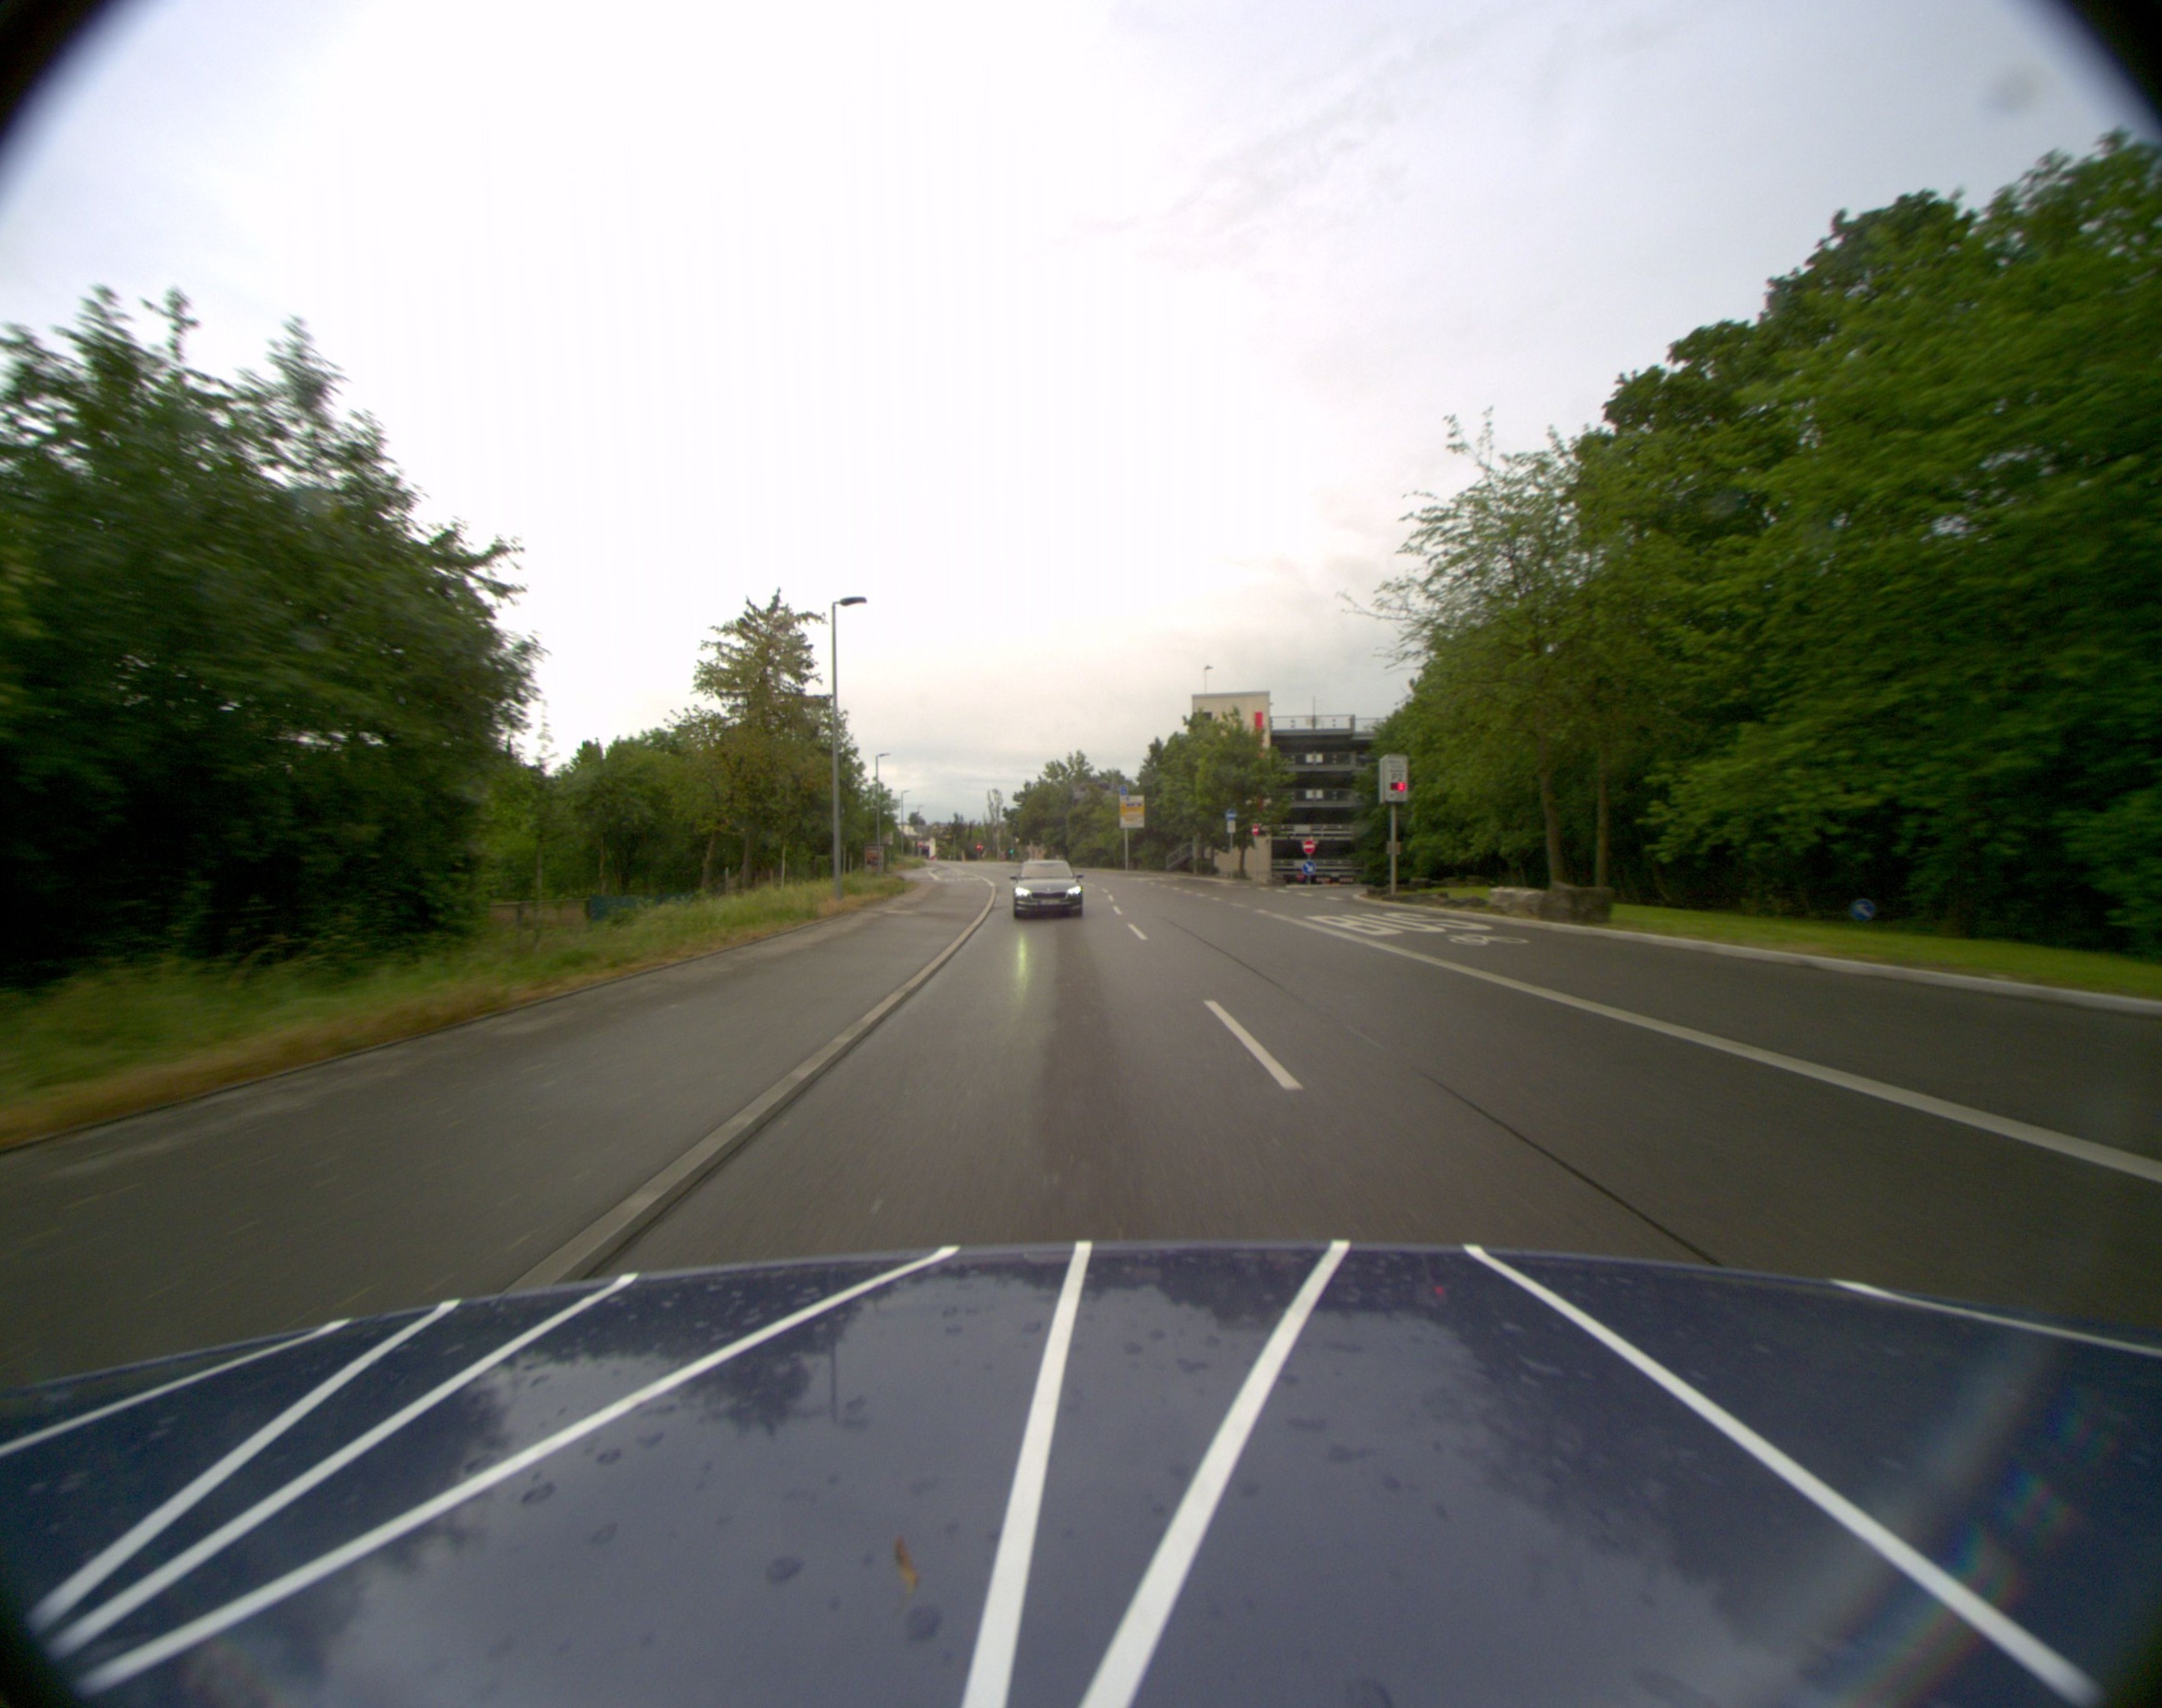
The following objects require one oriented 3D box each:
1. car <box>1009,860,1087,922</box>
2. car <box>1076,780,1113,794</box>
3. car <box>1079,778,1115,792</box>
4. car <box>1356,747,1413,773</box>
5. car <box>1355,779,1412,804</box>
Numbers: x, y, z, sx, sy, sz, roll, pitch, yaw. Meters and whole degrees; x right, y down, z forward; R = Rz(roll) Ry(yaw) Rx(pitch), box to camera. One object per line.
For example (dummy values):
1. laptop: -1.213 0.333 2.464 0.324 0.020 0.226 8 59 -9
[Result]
1. car: -0.844 0.925 20.776 1.839 1.448 4.201 -2 0 -1
2. car: 1.636 -7.937 89.969 3.992 1.510 2.002 1 0 15
3. car: 2.002 -8.537 94.110 3.992 1.510 2.002 1 0 15
4. car: 24.514 -7.578 61.464 3.993 1.761 2.002 0 -1 10
5. car: 24.517 -5.067 61.781 3.993 1.761 2.002 0 -1 10
